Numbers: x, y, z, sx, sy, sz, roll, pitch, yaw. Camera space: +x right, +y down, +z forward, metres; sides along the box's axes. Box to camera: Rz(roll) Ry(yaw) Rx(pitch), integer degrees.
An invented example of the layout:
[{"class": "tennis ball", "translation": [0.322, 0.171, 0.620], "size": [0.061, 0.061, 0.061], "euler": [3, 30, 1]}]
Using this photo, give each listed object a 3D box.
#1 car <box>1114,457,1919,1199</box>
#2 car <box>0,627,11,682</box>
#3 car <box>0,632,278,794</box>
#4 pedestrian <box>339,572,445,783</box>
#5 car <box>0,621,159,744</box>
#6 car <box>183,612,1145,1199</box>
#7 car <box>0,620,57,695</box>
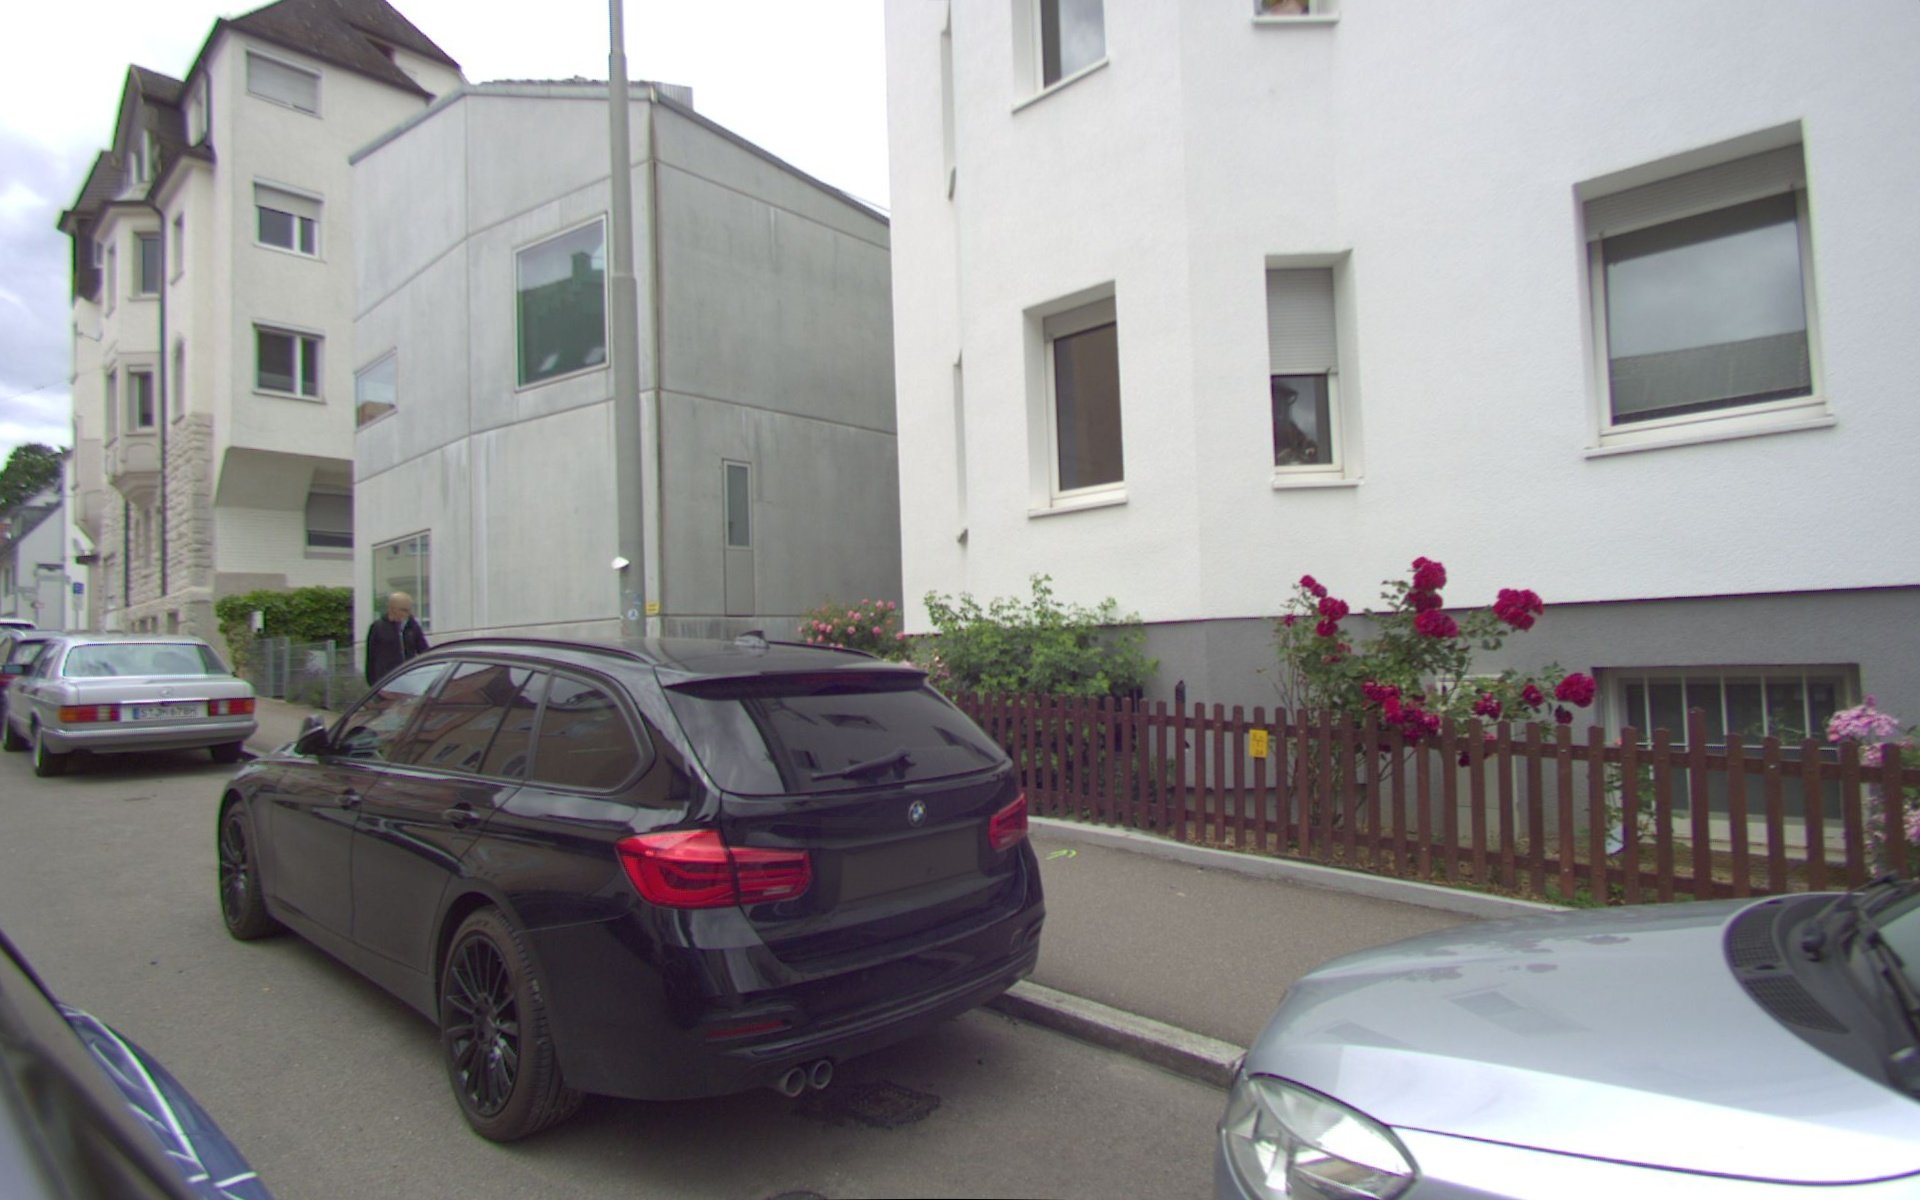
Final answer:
[{"class": "car", "translation": [2.440, 0.668, 0.712], "size": [4.283, 1.643, 1.826], "euler": [-2, -2, 40]}, {"class": "car", "translation": [-26.866, 1.464, 27.049], "size": [4.237, 1.425, 1.682], "euler": [-2, -2, 40]}, {"class": "car", "translation": [-9.569, 1.092, 11.519], "size": [5.060, 1.424, 1.825], "euler": [-1, -2, 42]}, {"class": "pedestrian", "translation": [-5.386, 0.712, 9.655], "size": [0.805, 1.899, 0.850], "euler": [1, -2, -26]}, {"class": "car", "translation": [-13.389, 1.085, 14.820], "size": [4.469, 1.539, 1.875], "euler": [-1, -1, 42]}, {"class": "car", "translation": [-1.638, 0.824, 4.300], "size": [4.503, 1.468, 1.825], "euler": [-1, -2, 42]}, {"class": "car", "translation": [-21.264, 1.235, 22.000], "size": [4.237, 1.527, 1.826], "euler": [-2, -2, 40]}]
